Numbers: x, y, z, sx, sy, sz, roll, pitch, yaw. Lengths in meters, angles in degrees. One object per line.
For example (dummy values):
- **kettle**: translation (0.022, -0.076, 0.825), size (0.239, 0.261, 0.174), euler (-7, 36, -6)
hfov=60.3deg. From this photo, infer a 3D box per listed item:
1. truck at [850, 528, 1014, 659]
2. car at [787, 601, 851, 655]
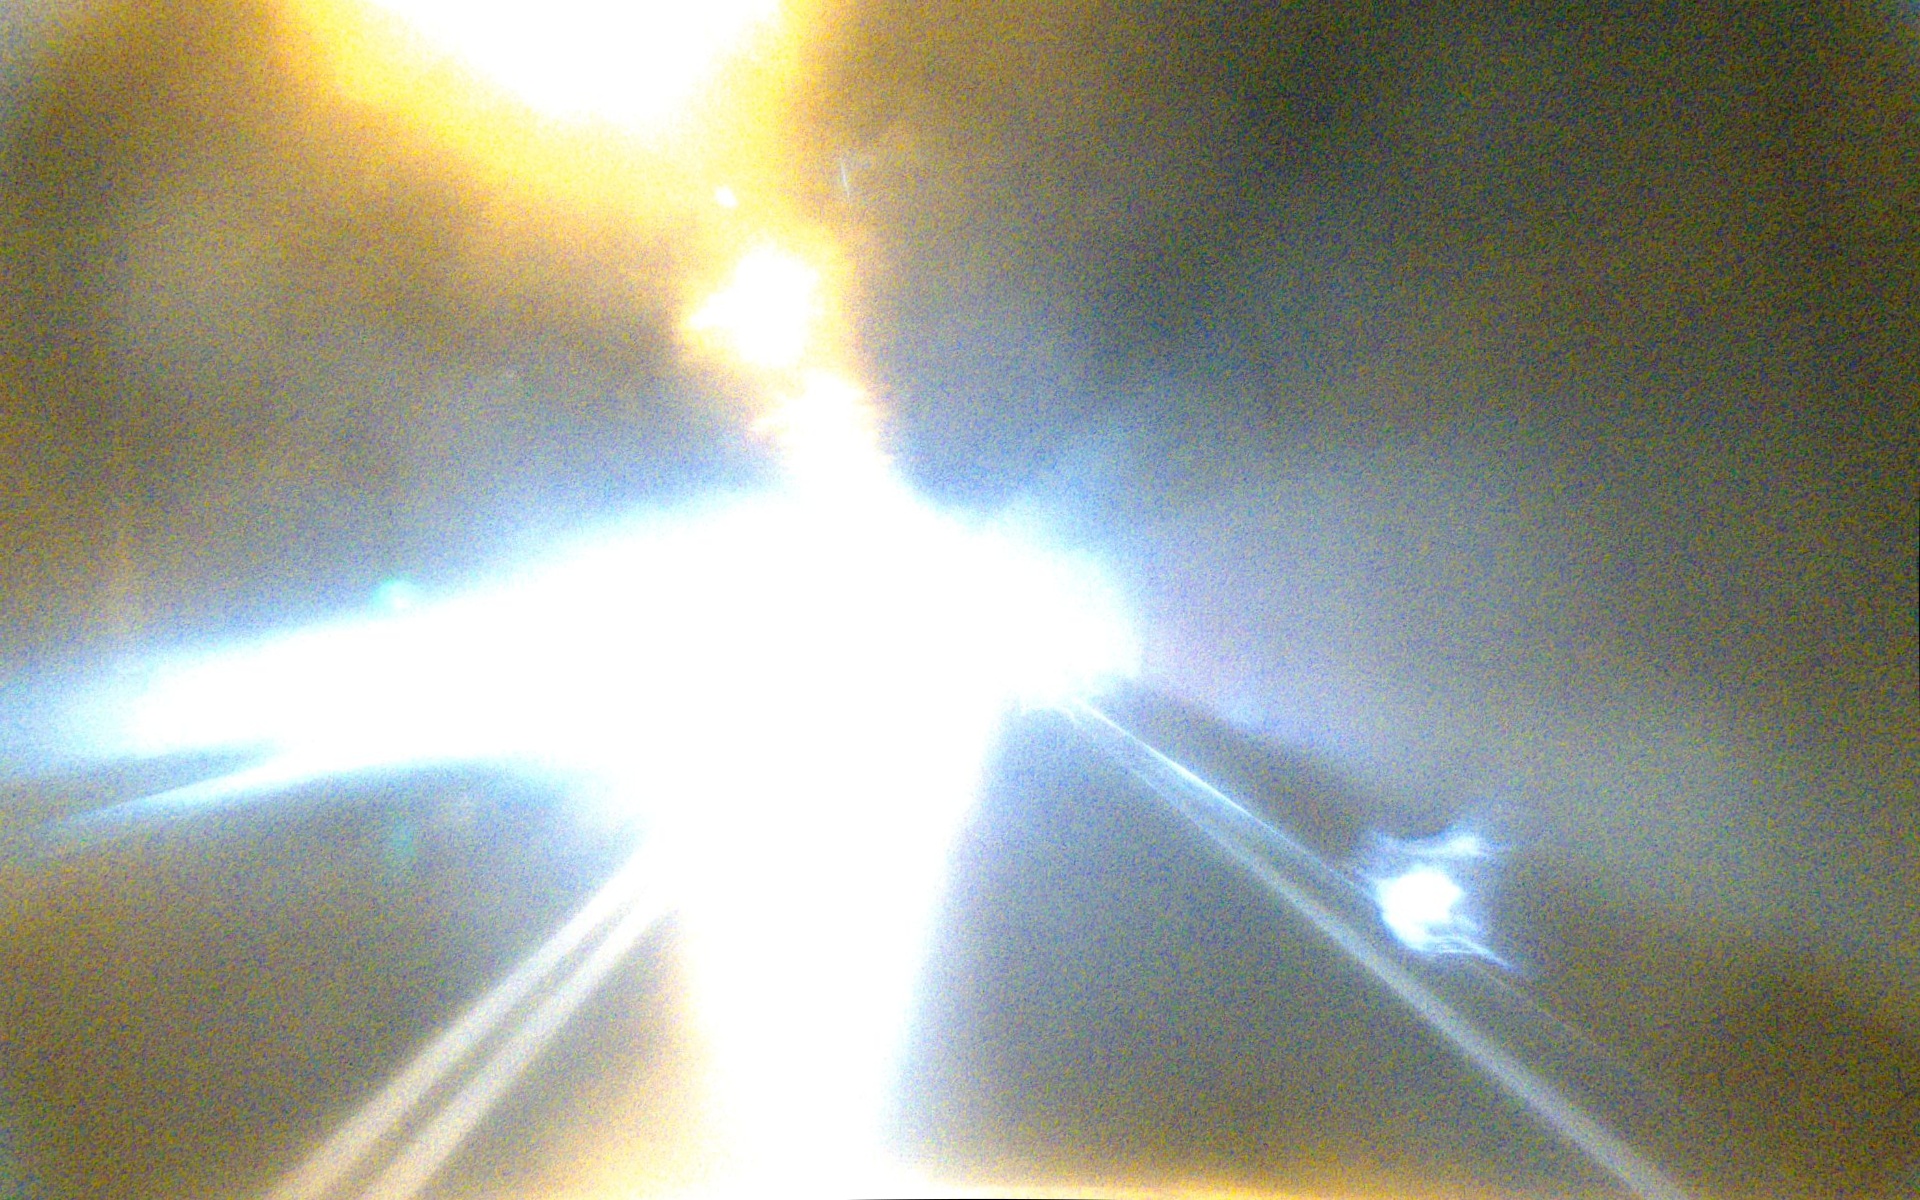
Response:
- **truck**: translation (-0.669, -0.145, 39.718), size (3.463, 2.740, 8.954), euler (-1, 0, -1)
- **car**: translation (-4.341, 0.838, 51.312), size (1.713, 1.612, 3.999), euler (0, 0, -1)
